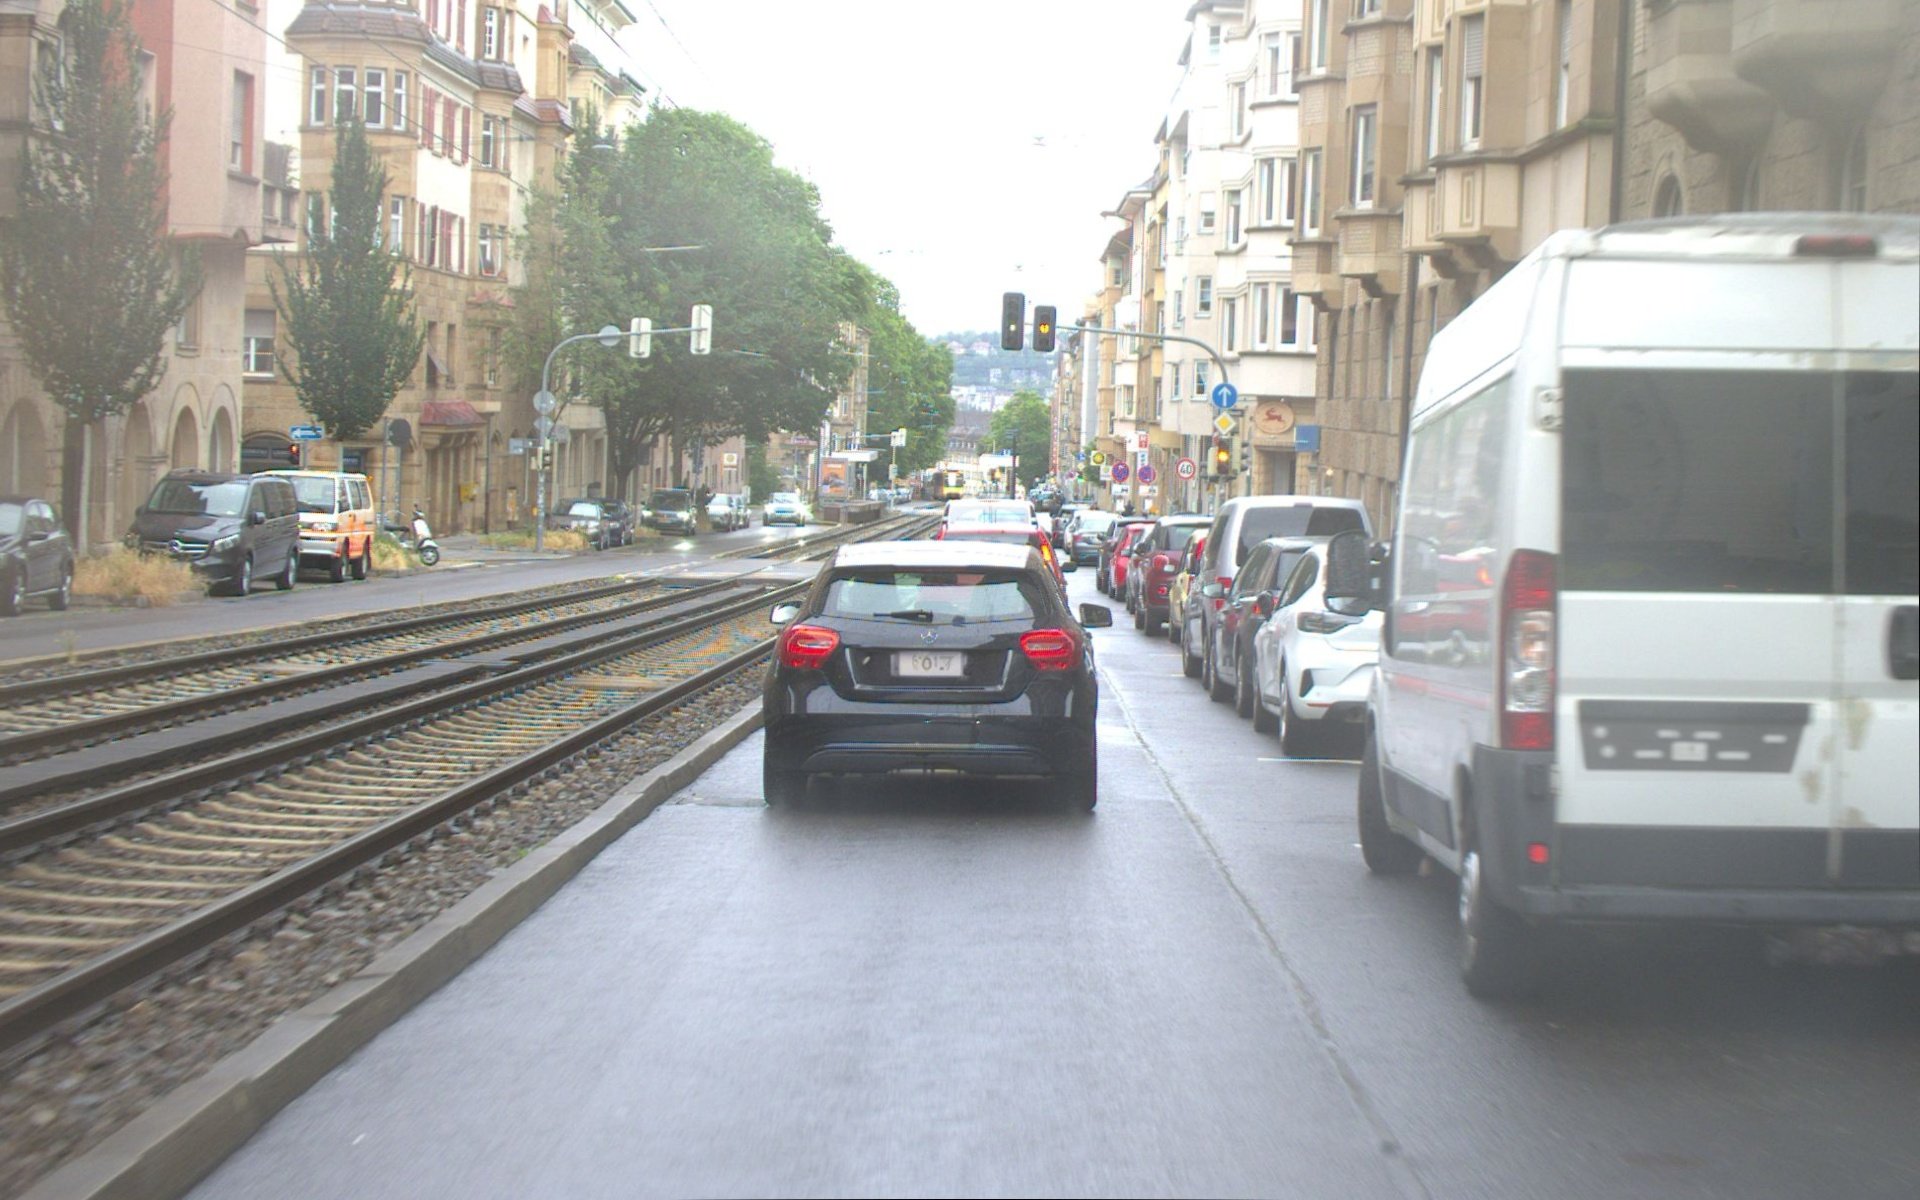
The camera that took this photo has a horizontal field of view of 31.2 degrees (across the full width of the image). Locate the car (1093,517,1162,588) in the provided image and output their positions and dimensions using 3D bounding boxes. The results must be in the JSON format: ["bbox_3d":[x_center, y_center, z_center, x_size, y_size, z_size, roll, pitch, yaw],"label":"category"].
[{"bbox_3d":[4.945,-1.395,102.083,1.898,2.021,4.176,1,0,1],"label":"car"}]

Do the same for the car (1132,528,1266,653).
[{"bbox_3d":[3.345,-0.172,48.611,1.711,1.623,4.000,3,1,2],"label":"car"}]

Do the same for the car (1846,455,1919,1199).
[{"bbox_3d":[2.679,0.695,4.742,1.769,1.802,4.482,3,1,1],"label":"car"}]

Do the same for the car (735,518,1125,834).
[{"bbox_3d":[-0.157,0.368,19.298,1.946,1.559,3.643,1,1,0],"label":"car"}]

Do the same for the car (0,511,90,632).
[{"bbox_3d":[-12.083,-0.397,42.659,1.642,1.393,3.884,3,1,-2],"label":"car"}]

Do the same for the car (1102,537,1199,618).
[{"bbox_3d":[3.598,-0.444,65.352,1.602,1.414,3.149,2,1,0],"label":"car"}]

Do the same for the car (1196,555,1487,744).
[{"bbox_3d":[3.143,0.367,29.087,1.993,1.436,4.000,1,1,0],"label":"car"}]

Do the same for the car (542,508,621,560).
[{"bbox_3d":[-11.101,-1.920,101.124,1.771,1.459,4.000,1,1,1],"label":"car"}]

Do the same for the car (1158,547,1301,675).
[{"bbox_3d":[3.412,0.113,43.989,1.559,1.473,3.461,3,1,1],"label":"car"}]

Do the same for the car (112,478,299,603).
[{"bbox_3d":[-11.924,-0.949,54.633,1.993,1.895,4.699,0,1,-1],"label":"car"}]

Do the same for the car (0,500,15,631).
[{"bbox_3d":[-12.139,-0.414,37.618,1.994,1.504,4.974,4,1,2],"label":"car"}]

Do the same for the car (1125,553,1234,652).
[{"bbox_3d":[3.671,0.018,57.907,1.638,1.537,3.465,3,1,2],"label":"car"}]

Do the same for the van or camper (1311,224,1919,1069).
[{"bbox_3d":[2.665,0.108,13.207,2.064,2.460,6.118,2,1,1],"label":"van or camper"}]

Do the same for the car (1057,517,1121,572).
[{"bbox_3d":[4.281,-1.830,114.326,1.768,1.769,4.000,1,0,-3],"label":"car"}]

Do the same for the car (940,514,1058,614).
[{"bbox_3d":[0.726,-0.666,61.558,1.921,1.649,4.000,3,1,2],"label":"car"}]

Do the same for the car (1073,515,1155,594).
[{"bbox_3d":[3.156,-0.958,70.953,1.549,1.503,4.000,3,1,1],"label":"car"}]

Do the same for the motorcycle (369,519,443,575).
[{"bbox_3d":[-11.749,-1.120,72.879,1.439,1.130,0.619,3,1,31],"label":"motorcycle"}]

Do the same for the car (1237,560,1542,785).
[{"bbox_3d":[2.989,0.455,24.642,1.676,1.406,4.000,1,1,0],"label":"car"}]

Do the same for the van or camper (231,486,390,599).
[{"bbox_3d":[-11.748,-1.051,62.452,1.993,1.895,4.699,2,1,-1],"label":"van or camper"}]

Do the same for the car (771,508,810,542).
[{"bbox_3d":[-8.060,-3.547,163.173,1.795,1.543,4.001,1,1,-3],"label":"car"}]

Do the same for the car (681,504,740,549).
[{"bbox_3d":[-10.479,-3.102,144.634,1.993,1.787,4.000,3,1,1],"label":"car"}]

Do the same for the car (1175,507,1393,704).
[{"bbox_3d":[3.117,-0.001,33.791,1.774,1.770,4.360,1,1,1],"label":"car"}]

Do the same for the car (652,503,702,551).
[{"bbox_3d":[-10.485,-2.699,127.401,1.789,1.685,4.001,2,1,-5],"label":"car"}]

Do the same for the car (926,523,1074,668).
[{"bbox_3d":[0.476,-0.089,39.050,1.536,1.505,4.000,3,1,1],"label":"car"}]

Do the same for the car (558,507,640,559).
[{"bbox_3d":[-11.160,-2.087,106.448,1.993,1.512,4.000,2,1,1],"label":"car"}]
